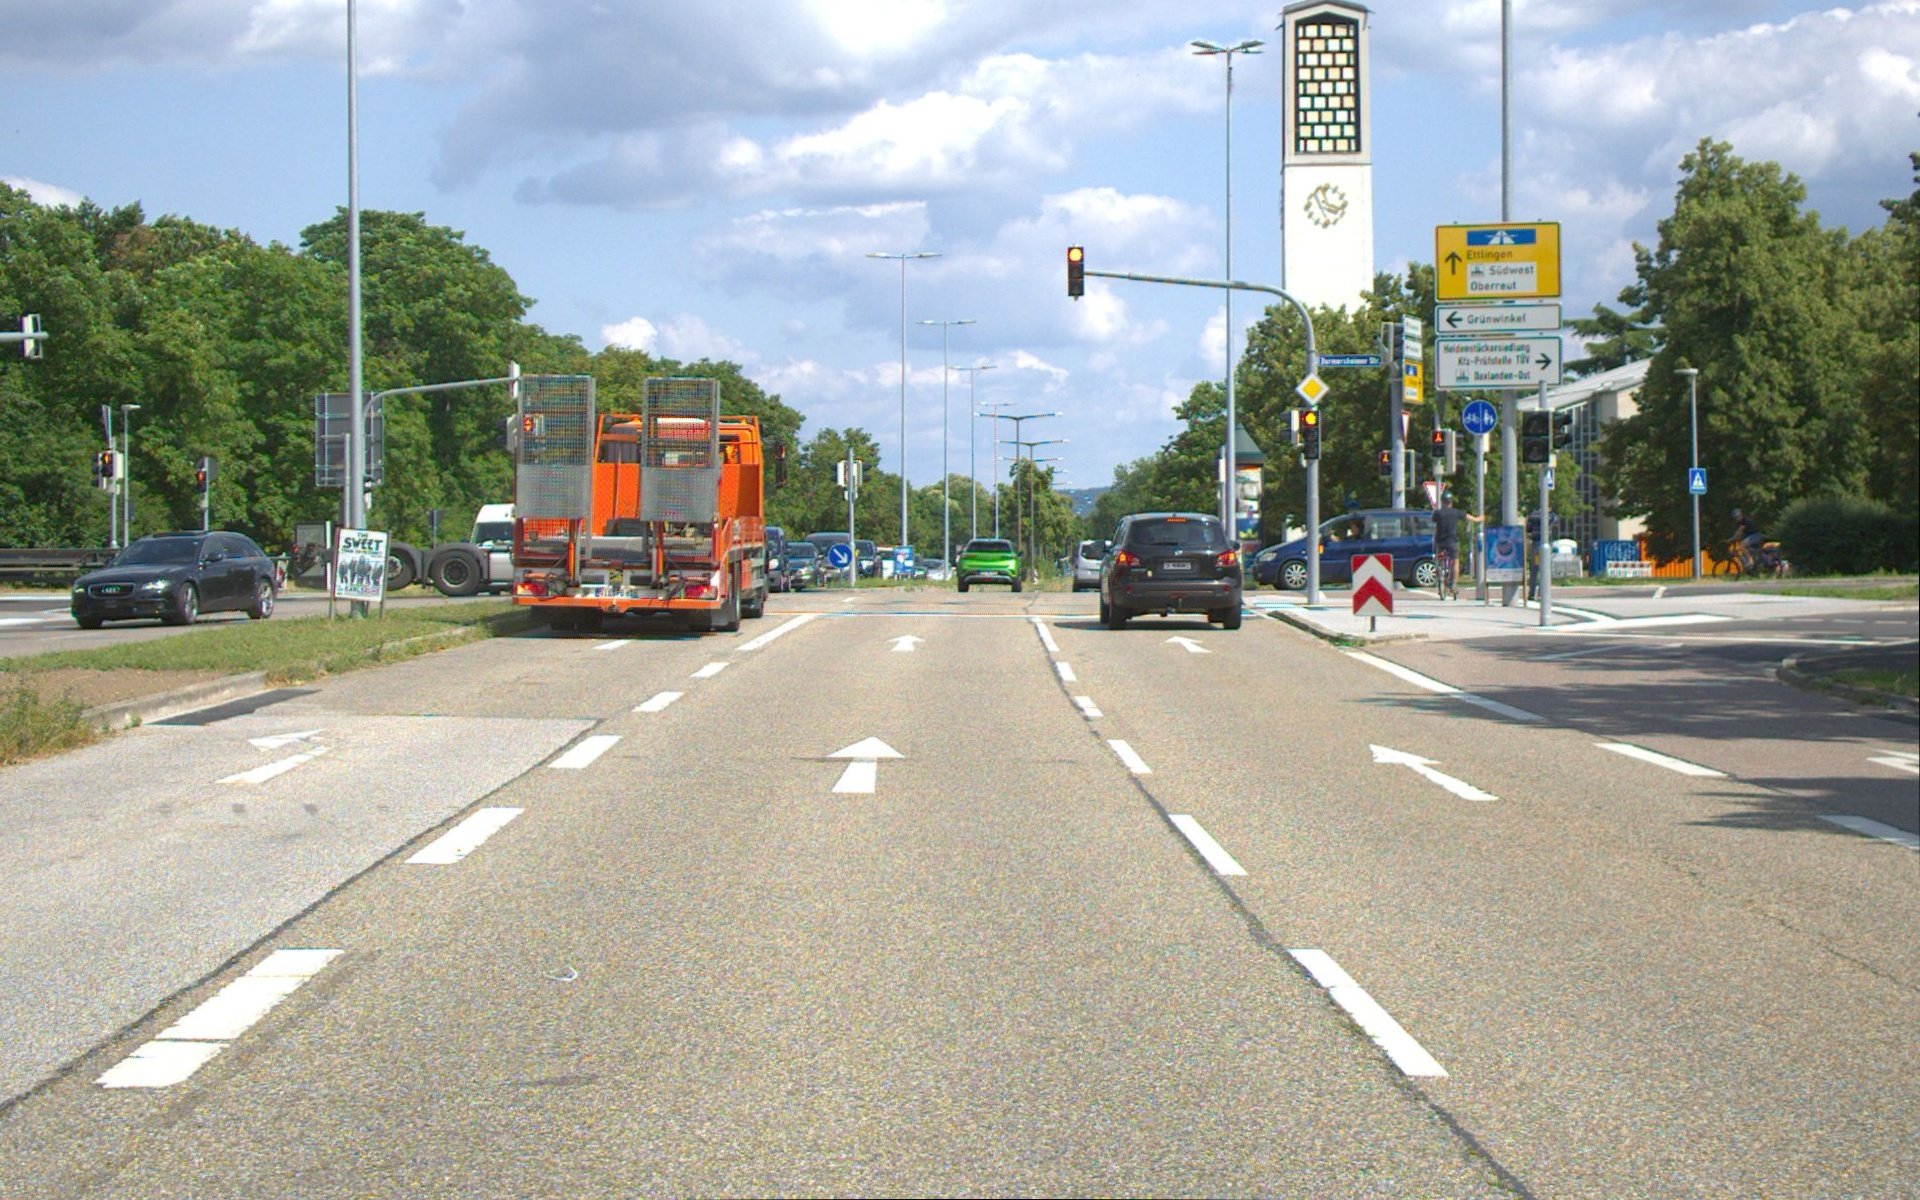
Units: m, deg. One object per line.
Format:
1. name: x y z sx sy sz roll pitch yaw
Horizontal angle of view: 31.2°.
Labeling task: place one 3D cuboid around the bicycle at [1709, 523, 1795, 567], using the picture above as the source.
1. bicycle: 19.936 -1.377 86.584 2.000 1.090 0.685 0 1 30

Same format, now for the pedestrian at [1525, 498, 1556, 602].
1. pedestrian: 9.990 -0.861 59.174 0.465 1.772 0.482 2 0 11

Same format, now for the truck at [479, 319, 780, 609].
1. truck: -4.259 -1.682 46.872 3.070 3.402 11.069 2 0 -1

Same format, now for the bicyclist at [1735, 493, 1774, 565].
1. bicyclist: 20.009 -1.781 86.535 0.788 1.798 0.685 0 1 30

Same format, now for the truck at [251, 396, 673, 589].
1. truck: -10.374 -2.221 72.362 8.608 3.957 2.970 0 1 -5

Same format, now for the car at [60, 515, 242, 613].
1. car: -12.544 -0.565 53.542 1.771 1.433 4.576 -1 1 -1

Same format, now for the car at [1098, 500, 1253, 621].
1. car: 2.922 -0.533 47.360 1.799 1.547 4.000 2 0 -1

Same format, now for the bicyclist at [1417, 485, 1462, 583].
1. bicyclist: 8.307 -1.139 59.531 0.648 1.655 0.650 2 0 15

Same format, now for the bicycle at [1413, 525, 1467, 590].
1. bicycle: 8.346 -0.729 59.722 0.648 1.104 1.927 2 0 15

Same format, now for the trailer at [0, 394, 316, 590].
1. trailer: -19.634 -2.271 72.616 11.283 3.998 3.632 0 1 5

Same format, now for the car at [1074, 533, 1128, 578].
1. car: 5.007 -1.575 122.604 1.658 1.549 4.000 2 0 -1

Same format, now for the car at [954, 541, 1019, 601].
1. car: 0.744 -0.836 99.139 1.740 1.663 3.590 2 0 -1
